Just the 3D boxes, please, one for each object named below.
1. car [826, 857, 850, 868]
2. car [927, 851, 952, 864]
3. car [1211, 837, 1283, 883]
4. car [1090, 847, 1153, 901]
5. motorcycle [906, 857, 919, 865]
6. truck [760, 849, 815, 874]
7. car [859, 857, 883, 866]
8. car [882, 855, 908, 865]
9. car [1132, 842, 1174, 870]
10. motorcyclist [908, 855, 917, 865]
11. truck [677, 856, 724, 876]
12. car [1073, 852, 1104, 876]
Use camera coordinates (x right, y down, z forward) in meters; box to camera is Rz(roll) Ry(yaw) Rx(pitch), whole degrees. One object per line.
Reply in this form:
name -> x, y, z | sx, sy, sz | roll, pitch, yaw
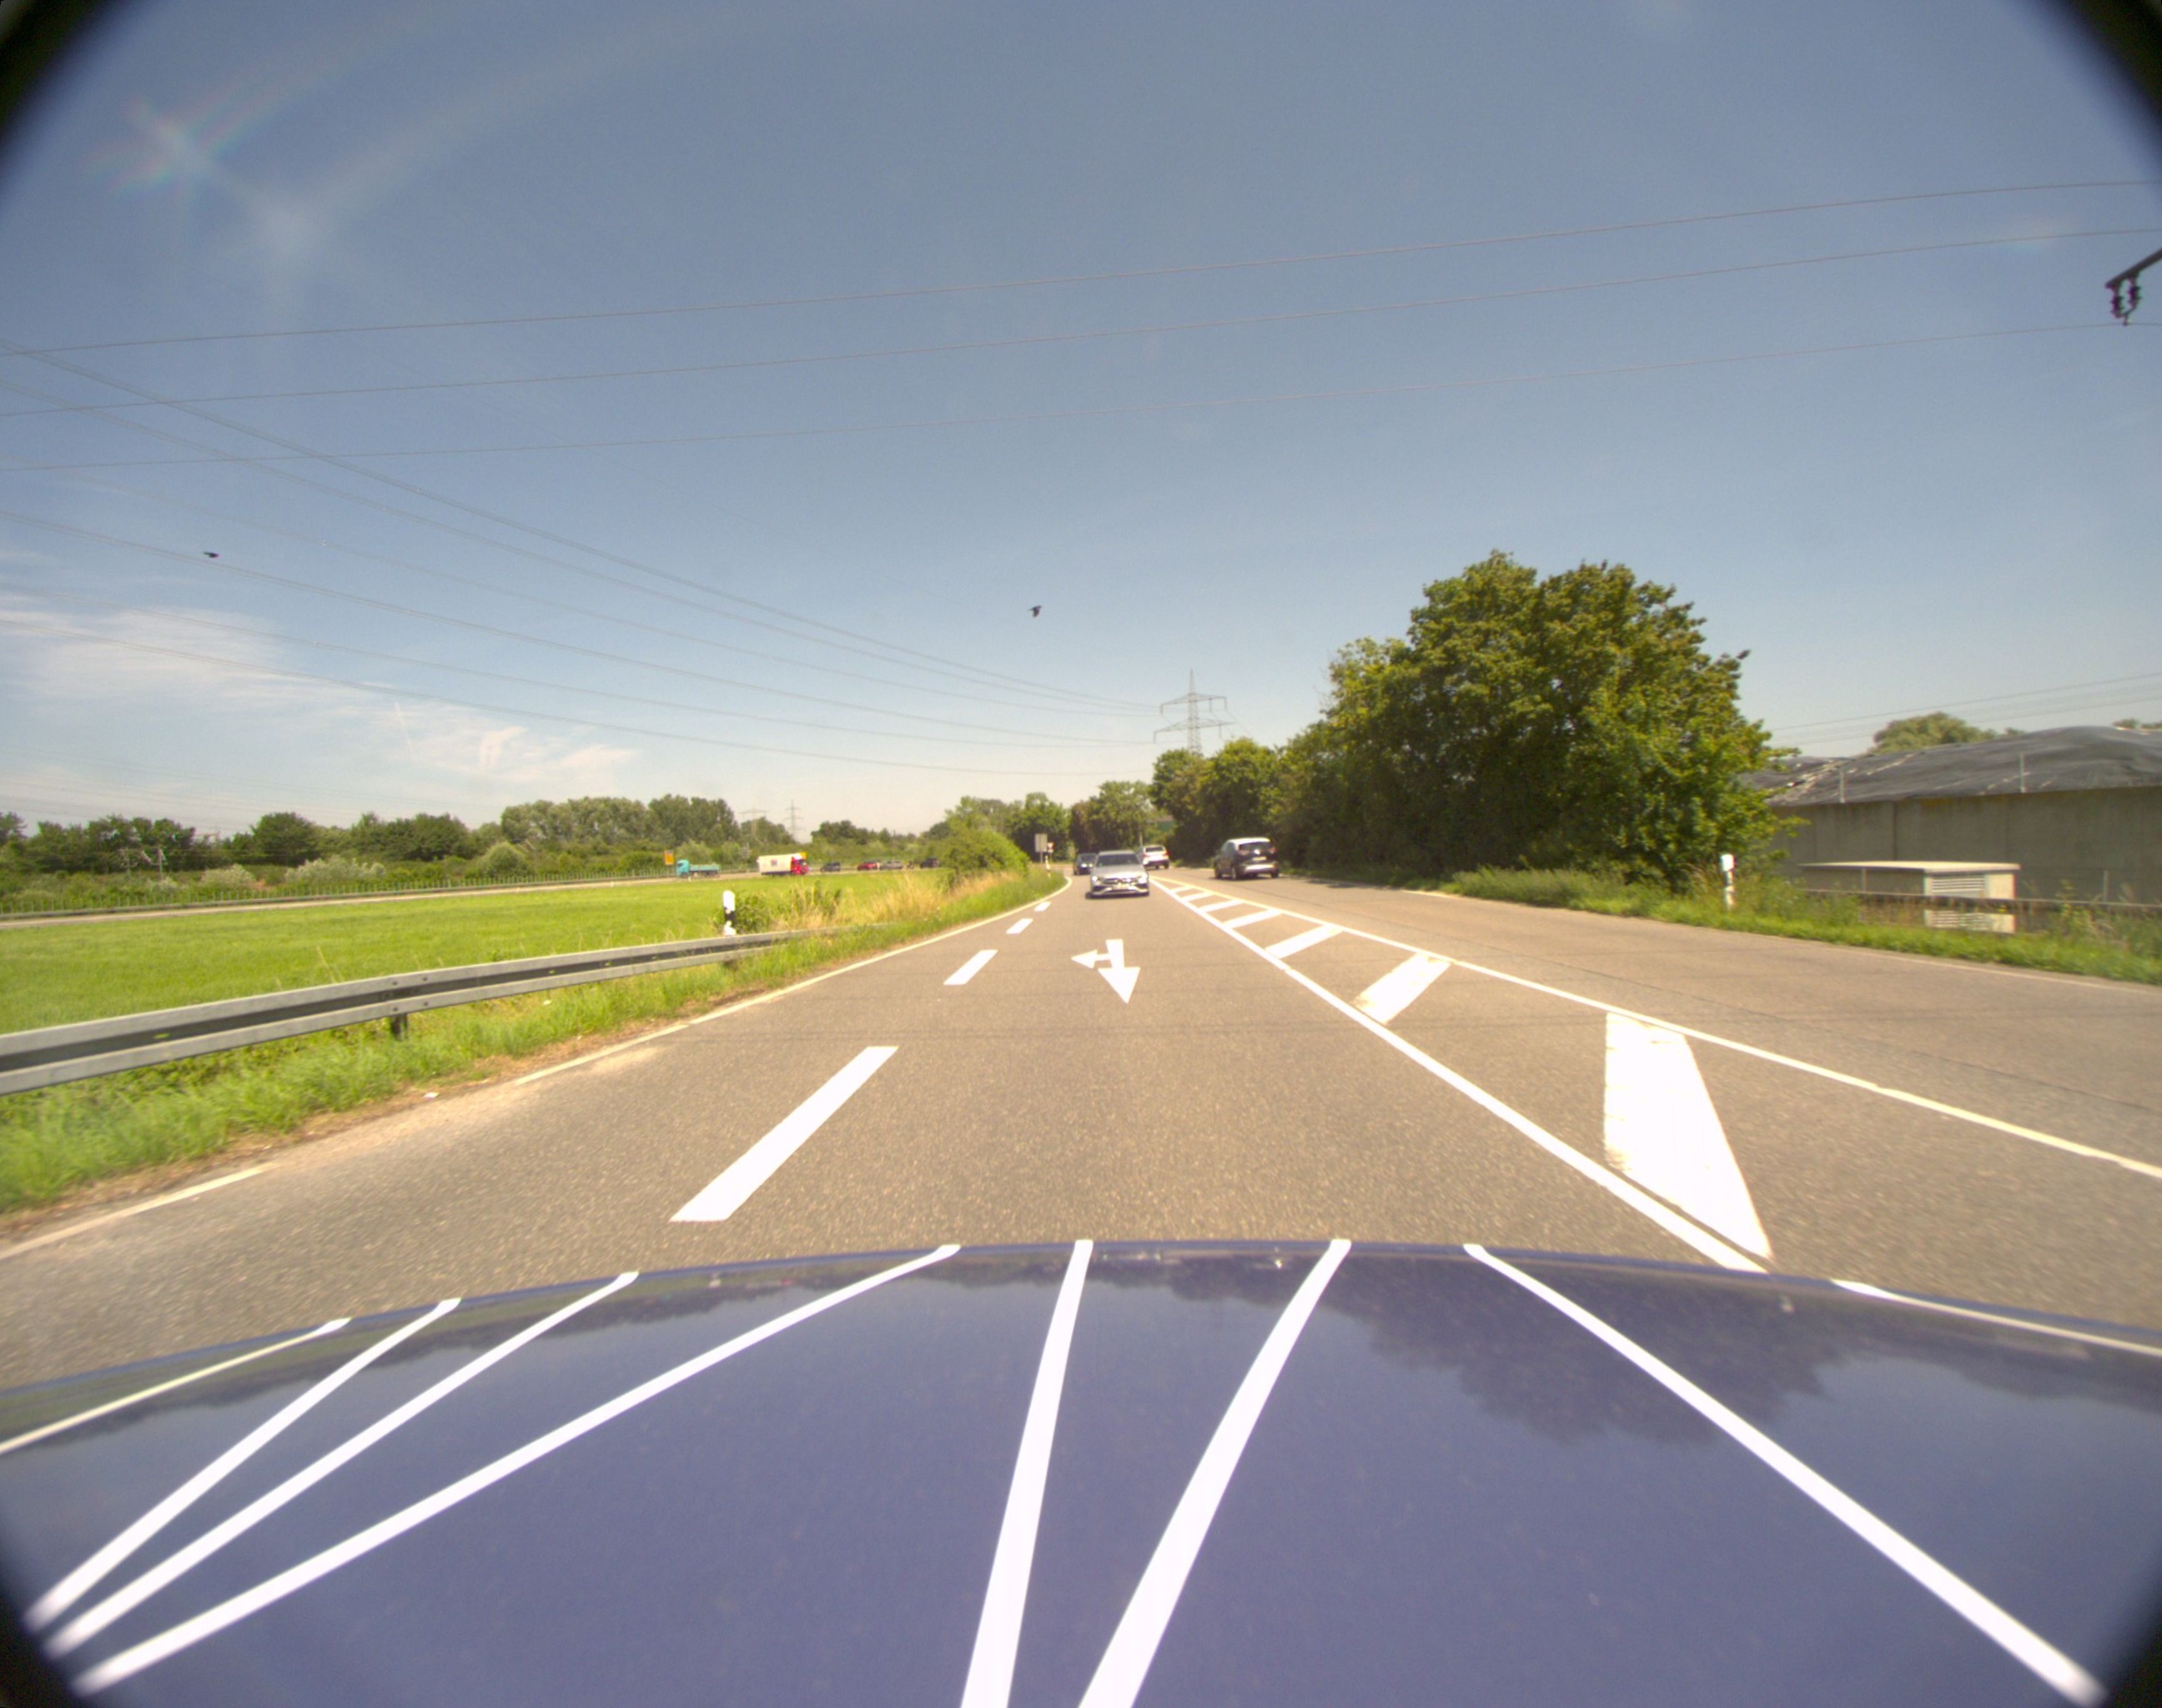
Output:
car -> -43.337, 1.520, 135.560 | 4.426, 1.822, 1.936 | -2, 3, 43
car -> -21.092, 0.565, 113.140 | 1.710, 1.629, 4.238 | -7, 3, -42
car -> 6.433, 0.196, 29.824 | 1.737, 1.581, 3.956 | -4, 1, -2
car -> 1.260, 0.577, 24.868 | 1.824, 1.478, 4.148 | -3, 1, 1
motorcycle -> -26.290, 1.089, 118.498 | 2.423, 1.117, 0.785 | -2, 4, 45
truck -> -49.812, 1.282, 128.829 | 9.532, 3.560, 2.729 | -2, 3, 27
car -> -35.214, 1.257, 127.508 | 4.379, 1.507, 1.808 | -1, 2, 45
car -> -29.901, 1.013, 122.098 | 4.795, 1.452, 1.850 | -1, 3, 45
car -> 4.639, 0.108, 49.888 | 1.746, 1.580, 4.527 | -5, 1, -6
motorcyclist -> -26.259, 0.906, 118.405 | 1.127, 1.487, 0.784 | -1, 3, 45
truck -> -72.708, 2.249, 145.430 | 7.615, 3.452, 2.606 | -3, 1, -19
car -> 0.499, 0.658, 51.790 | 1.824, 1.431, 4.147 | -3, 1, -3
